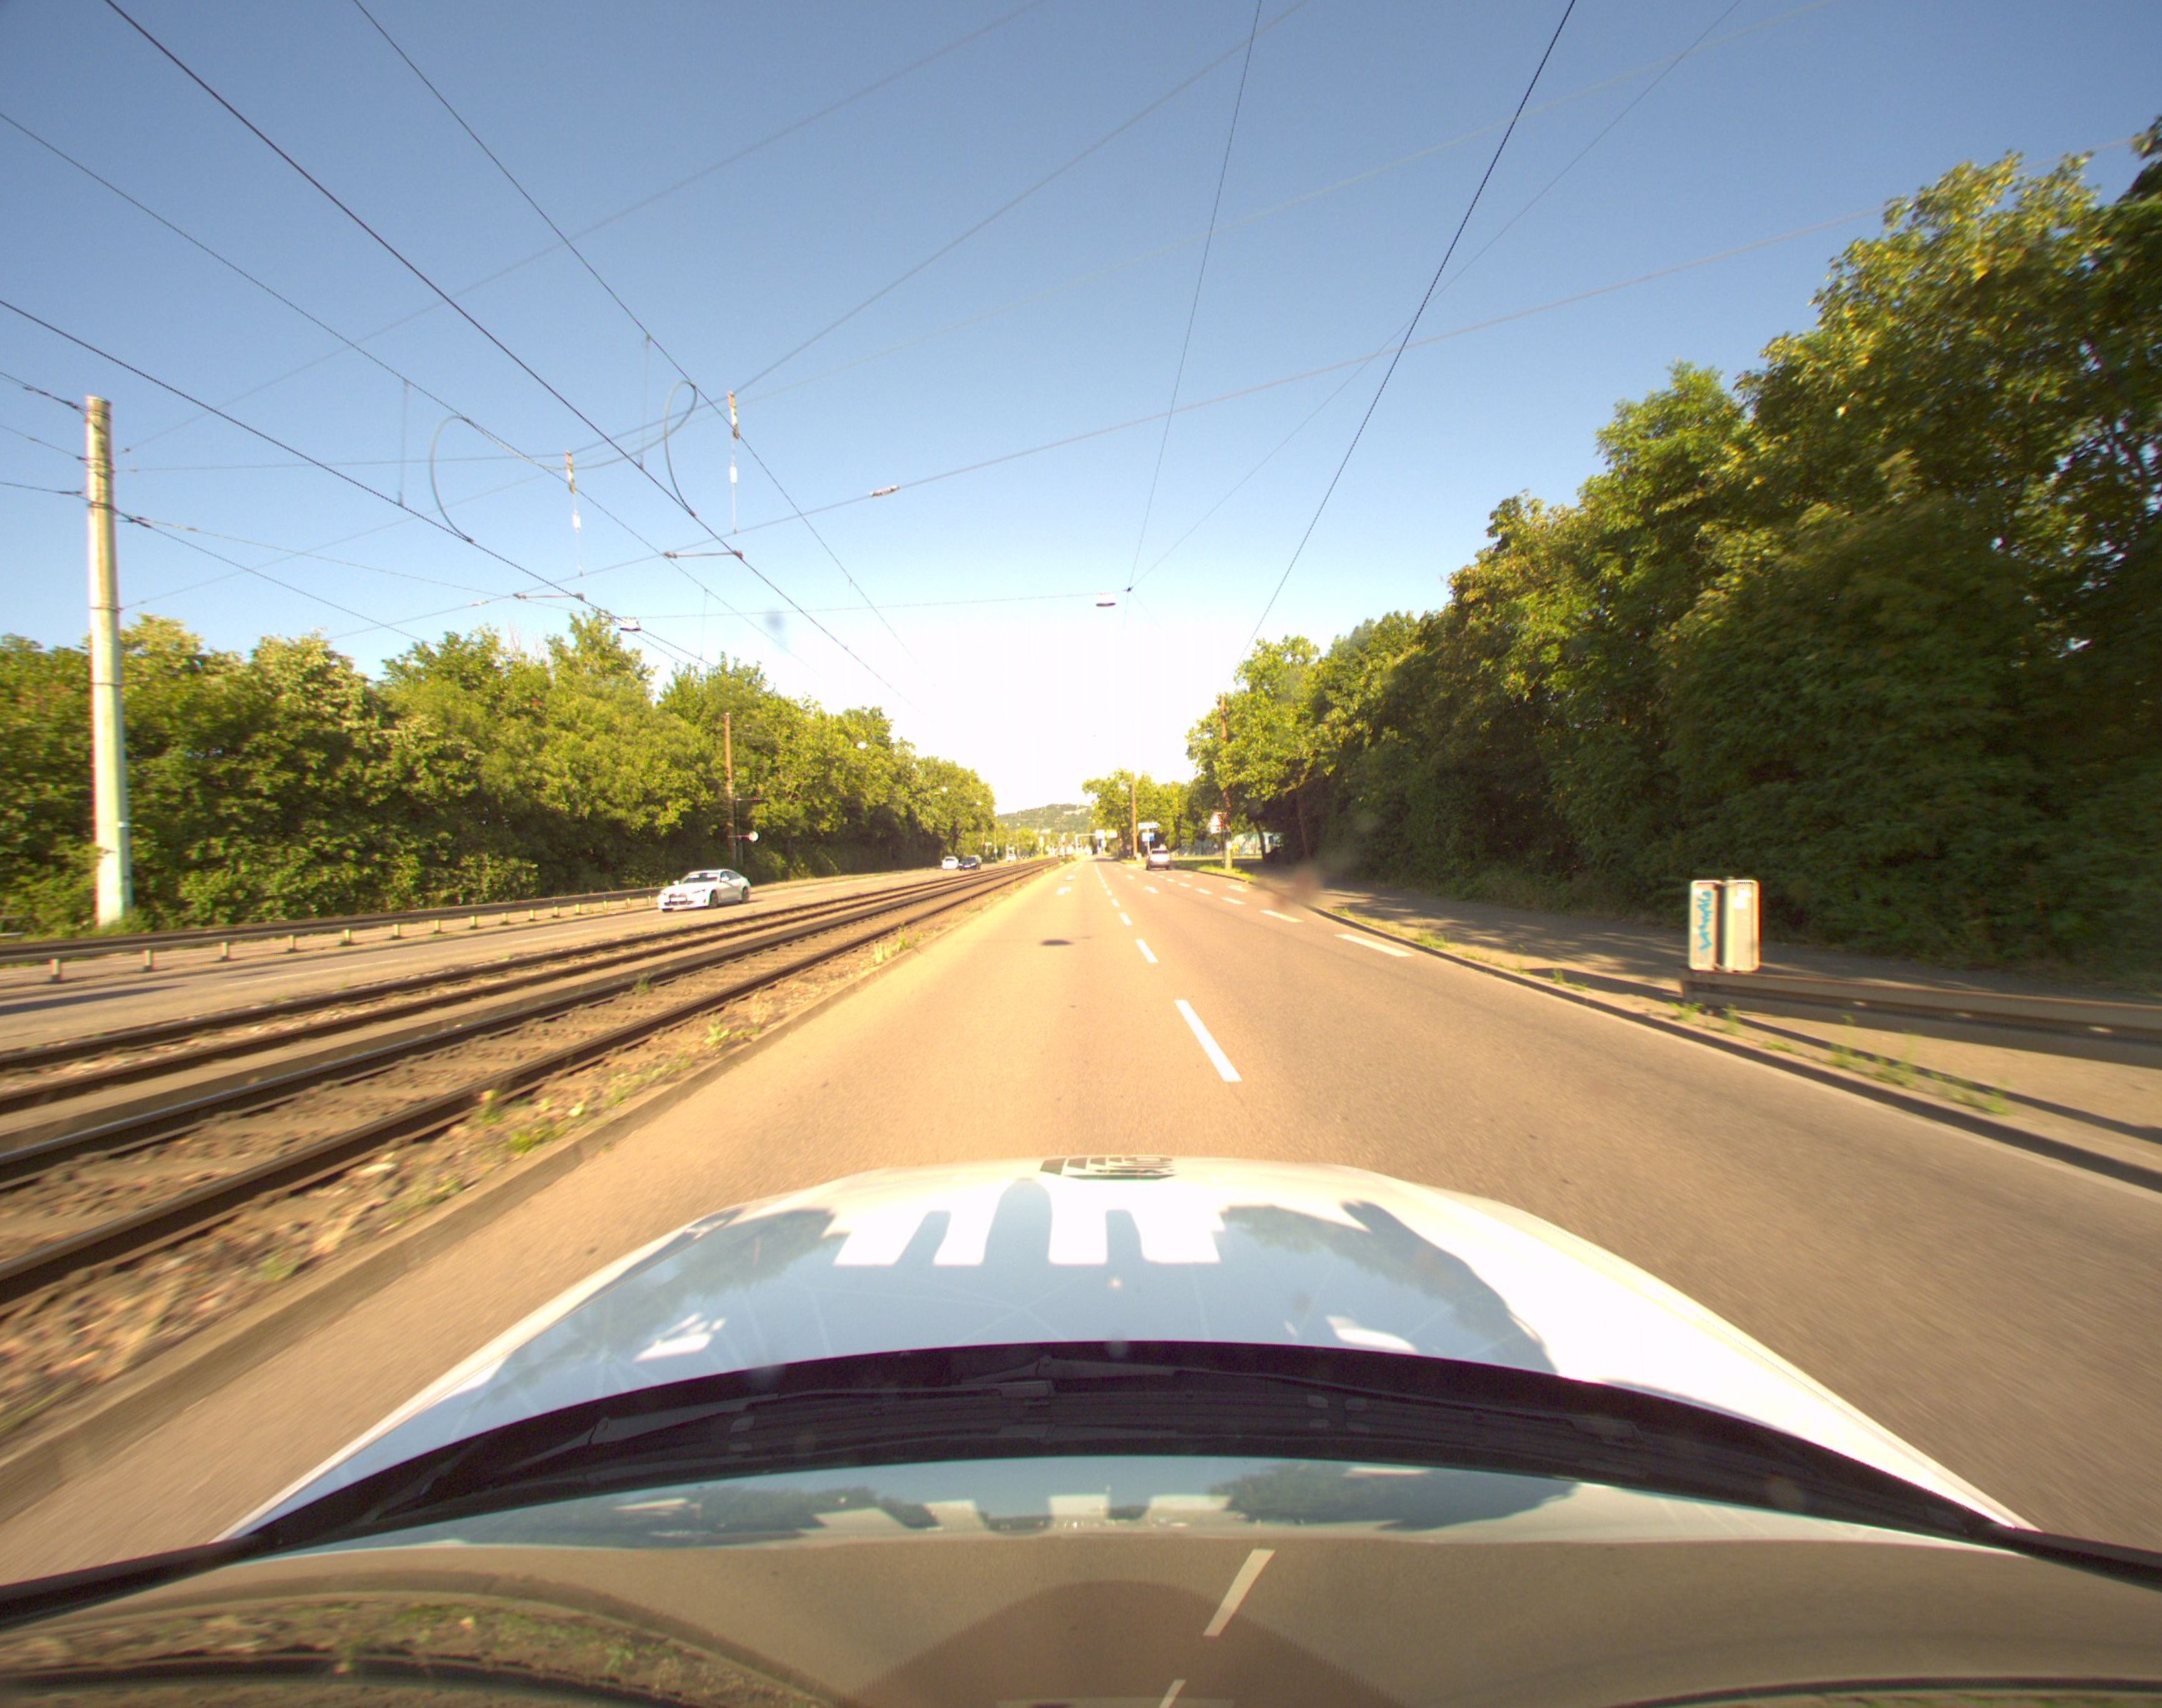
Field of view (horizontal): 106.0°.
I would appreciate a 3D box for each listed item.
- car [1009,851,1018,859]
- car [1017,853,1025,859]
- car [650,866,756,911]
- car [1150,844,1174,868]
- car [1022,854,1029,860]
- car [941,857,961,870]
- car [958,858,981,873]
[{"bbox_3d":[-15.864,0.266,191.670,1.957,1.707,4.940,-4,0,-2],"label":"car"},{"bbox_3d":[-16.207,0.641,220.063,1.706,1.468,4.345,-4,0,-1],"label":"car"},{"bbox_3d":[-14.200,1.241,30.950,1.750,1.414,4.875,-4,0,-1],"label":"car"},{"bbox_3d":[6.285,0.159,63.639,1.800,1.773,3.867,-1,0,5],"label":"car"},{"bbox_3d":[-17.018,0.922,249.338,1.893,1.694,4.938,-3,0,-2],"label":"car"},{"bbox_3d":[-16.444,1.227,103.445,1.685,1.556,4.191,-4,0,1],"label":"car"},{"bbox_3d":[-11.792,1.218,86.617,1.651,1.432,4.502,-4,0,1],"label":"car"}]
